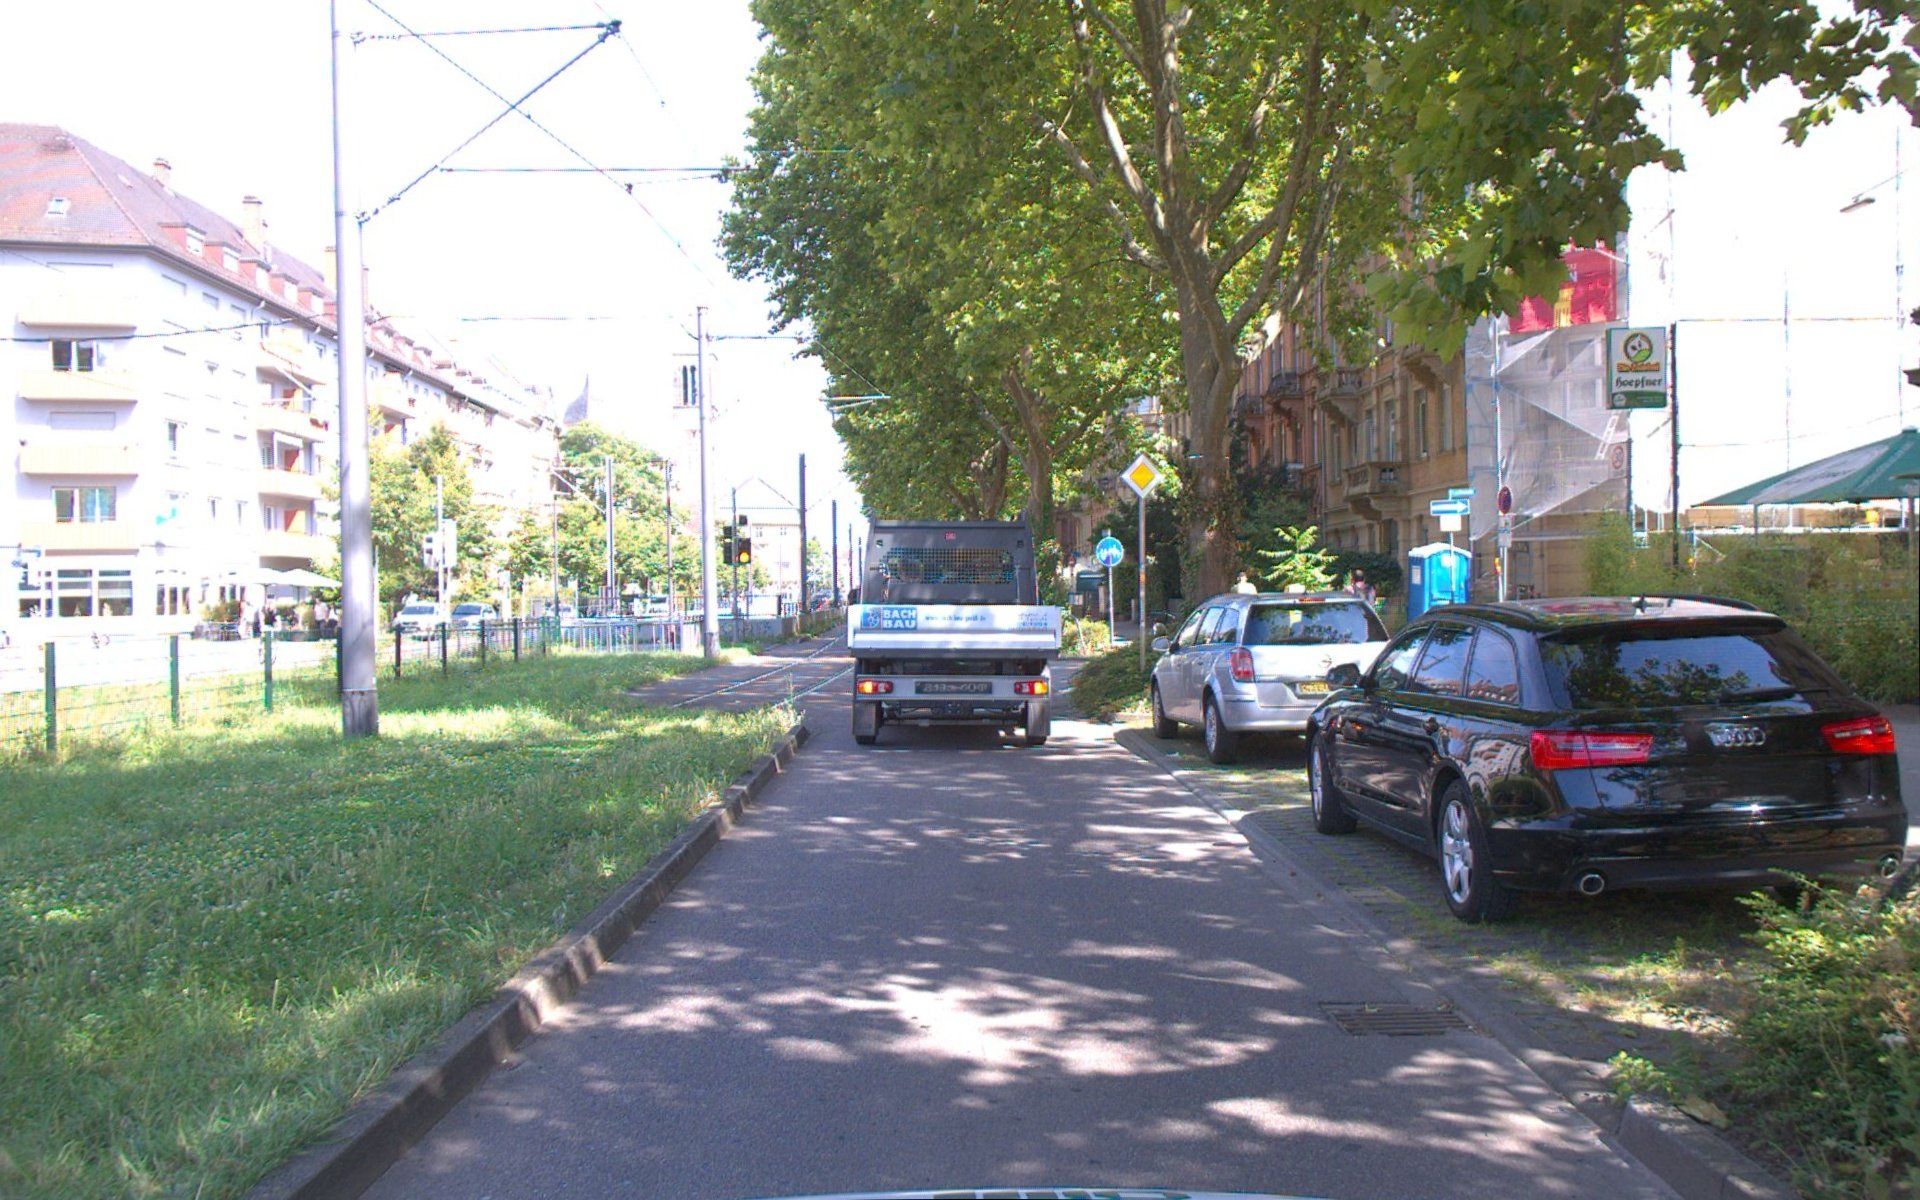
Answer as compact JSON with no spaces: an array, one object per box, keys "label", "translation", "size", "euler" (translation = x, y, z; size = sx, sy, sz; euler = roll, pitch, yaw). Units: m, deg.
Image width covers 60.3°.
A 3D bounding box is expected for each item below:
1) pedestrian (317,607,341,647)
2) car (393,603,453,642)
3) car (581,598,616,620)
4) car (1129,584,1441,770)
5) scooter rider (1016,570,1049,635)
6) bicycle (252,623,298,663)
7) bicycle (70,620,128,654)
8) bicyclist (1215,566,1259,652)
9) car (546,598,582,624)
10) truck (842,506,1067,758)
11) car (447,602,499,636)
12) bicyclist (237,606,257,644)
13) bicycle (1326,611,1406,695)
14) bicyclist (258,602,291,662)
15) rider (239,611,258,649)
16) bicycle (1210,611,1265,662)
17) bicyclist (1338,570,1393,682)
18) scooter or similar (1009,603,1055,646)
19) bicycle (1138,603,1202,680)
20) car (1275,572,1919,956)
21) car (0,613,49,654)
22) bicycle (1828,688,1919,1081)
[{"label":"pedestrian","translation":[-25.792,1.083,67.609],"size":[0.847,1.600,0.684],"euler":[-1,0,-26]},{"label":"car","translation":[-23.430,0.958,72.332],"size":[1.737,1.524,3.993],"euler":[-3,0,-8]},{"label":"car","translation":[-25.287,0.616,115.863],"size":[1.735,1.524,3.997],"euler":[-1,0,-3]},{"label":"car","translation":[3.009,0.645,16.345],"size":[1.798,1.534,4.487],"euler":[-2,0,-5]},{"label":"scooter rider","translation":[2.154,0.077,49.285],"size":[0.663,1.899,0.655],"euler":[-1,0,-40]},{"label":"bicycle","translation":[-19.350,1.207,46.764],"size":[0.520,1.067,1.925],"euler":[-3,0,-3]},{"label":"bicycle","translation":[-32.154,1.364,61.813],"size":[0.893,1.157,2.805],"euler":[-1,0,-5]},{"label":"bicyclist","translation":[5.255,0.161,31.393],"size":[0.667,1.591,0.777],"euler":[-1,0,-1]},{"label":"car","translation":[-24.538,0.660,102.522],"size":[1.737,1.524,3.993],"euler":[-1,0,-8]},{"label":"truck","translation":[-0.092,0.293,17.842],"size":[2.095,2.359,4.400],"euler":[1,0,-1]},{"label":"car","translation":[-23.791,0.928,80.902],"size":[1.737,1.524,3.993],"euler":[-3,0,-8]},{"label":"bicyclist","translation":[-27.755,0.973,64.392],"size":[0.613,1.448,0.587],"euler":[-1,0,-19]},{"label":"bicycle","translation":[5.908,0.747,24.183],"size":[0.554,1.131,2.310],"euler":[-1,0,-1]},{"label":"bicyclist","translation":[-19.347,0.898,46.680],"size":[0.610,1.651,0.694],"euler":[-1,0,-3]},{"label":"rider","translation":[-27.945,1.182,64.973],"size":[0.613,1.448,0.587],"euler":[-1,0,-19]},{"label":"bicycle","translation":[5.265,0.680,31.486],"size":[0.661,0.897,2.163],"euler":[-1,0,-1]},{"label":"bicyclist","translation":[5.899,0.370,24.057],"size":[0.625,1.601,0.579],"euler":[-1,0,-1]},{"label":"scooter or similar","translation":[2.140,0.731,49.280],"size":[1.259,1.225,0.647],"euler":[-1,0,-42]},{"label":"bicycle","translation":[3.250,0.629,25.507],"size":[0.413,1.125,1.614],"euler":[-1,0,28]},{"label":"car","translation":[3.154,0.660,9.149],"size":[1.796,1.534,4.642],"euler":[-1,0,-2]},{"label":"car","translation":[-35.066,1.223,60.169],"size":[1.799,1.400,4.635],"euler":[-1,0,-8]},{"label":"bicycle","translation":[3.441,0.833,5.322],"size":[1.620,1.107,0.466],"euler":[-2,0,-36]}]
